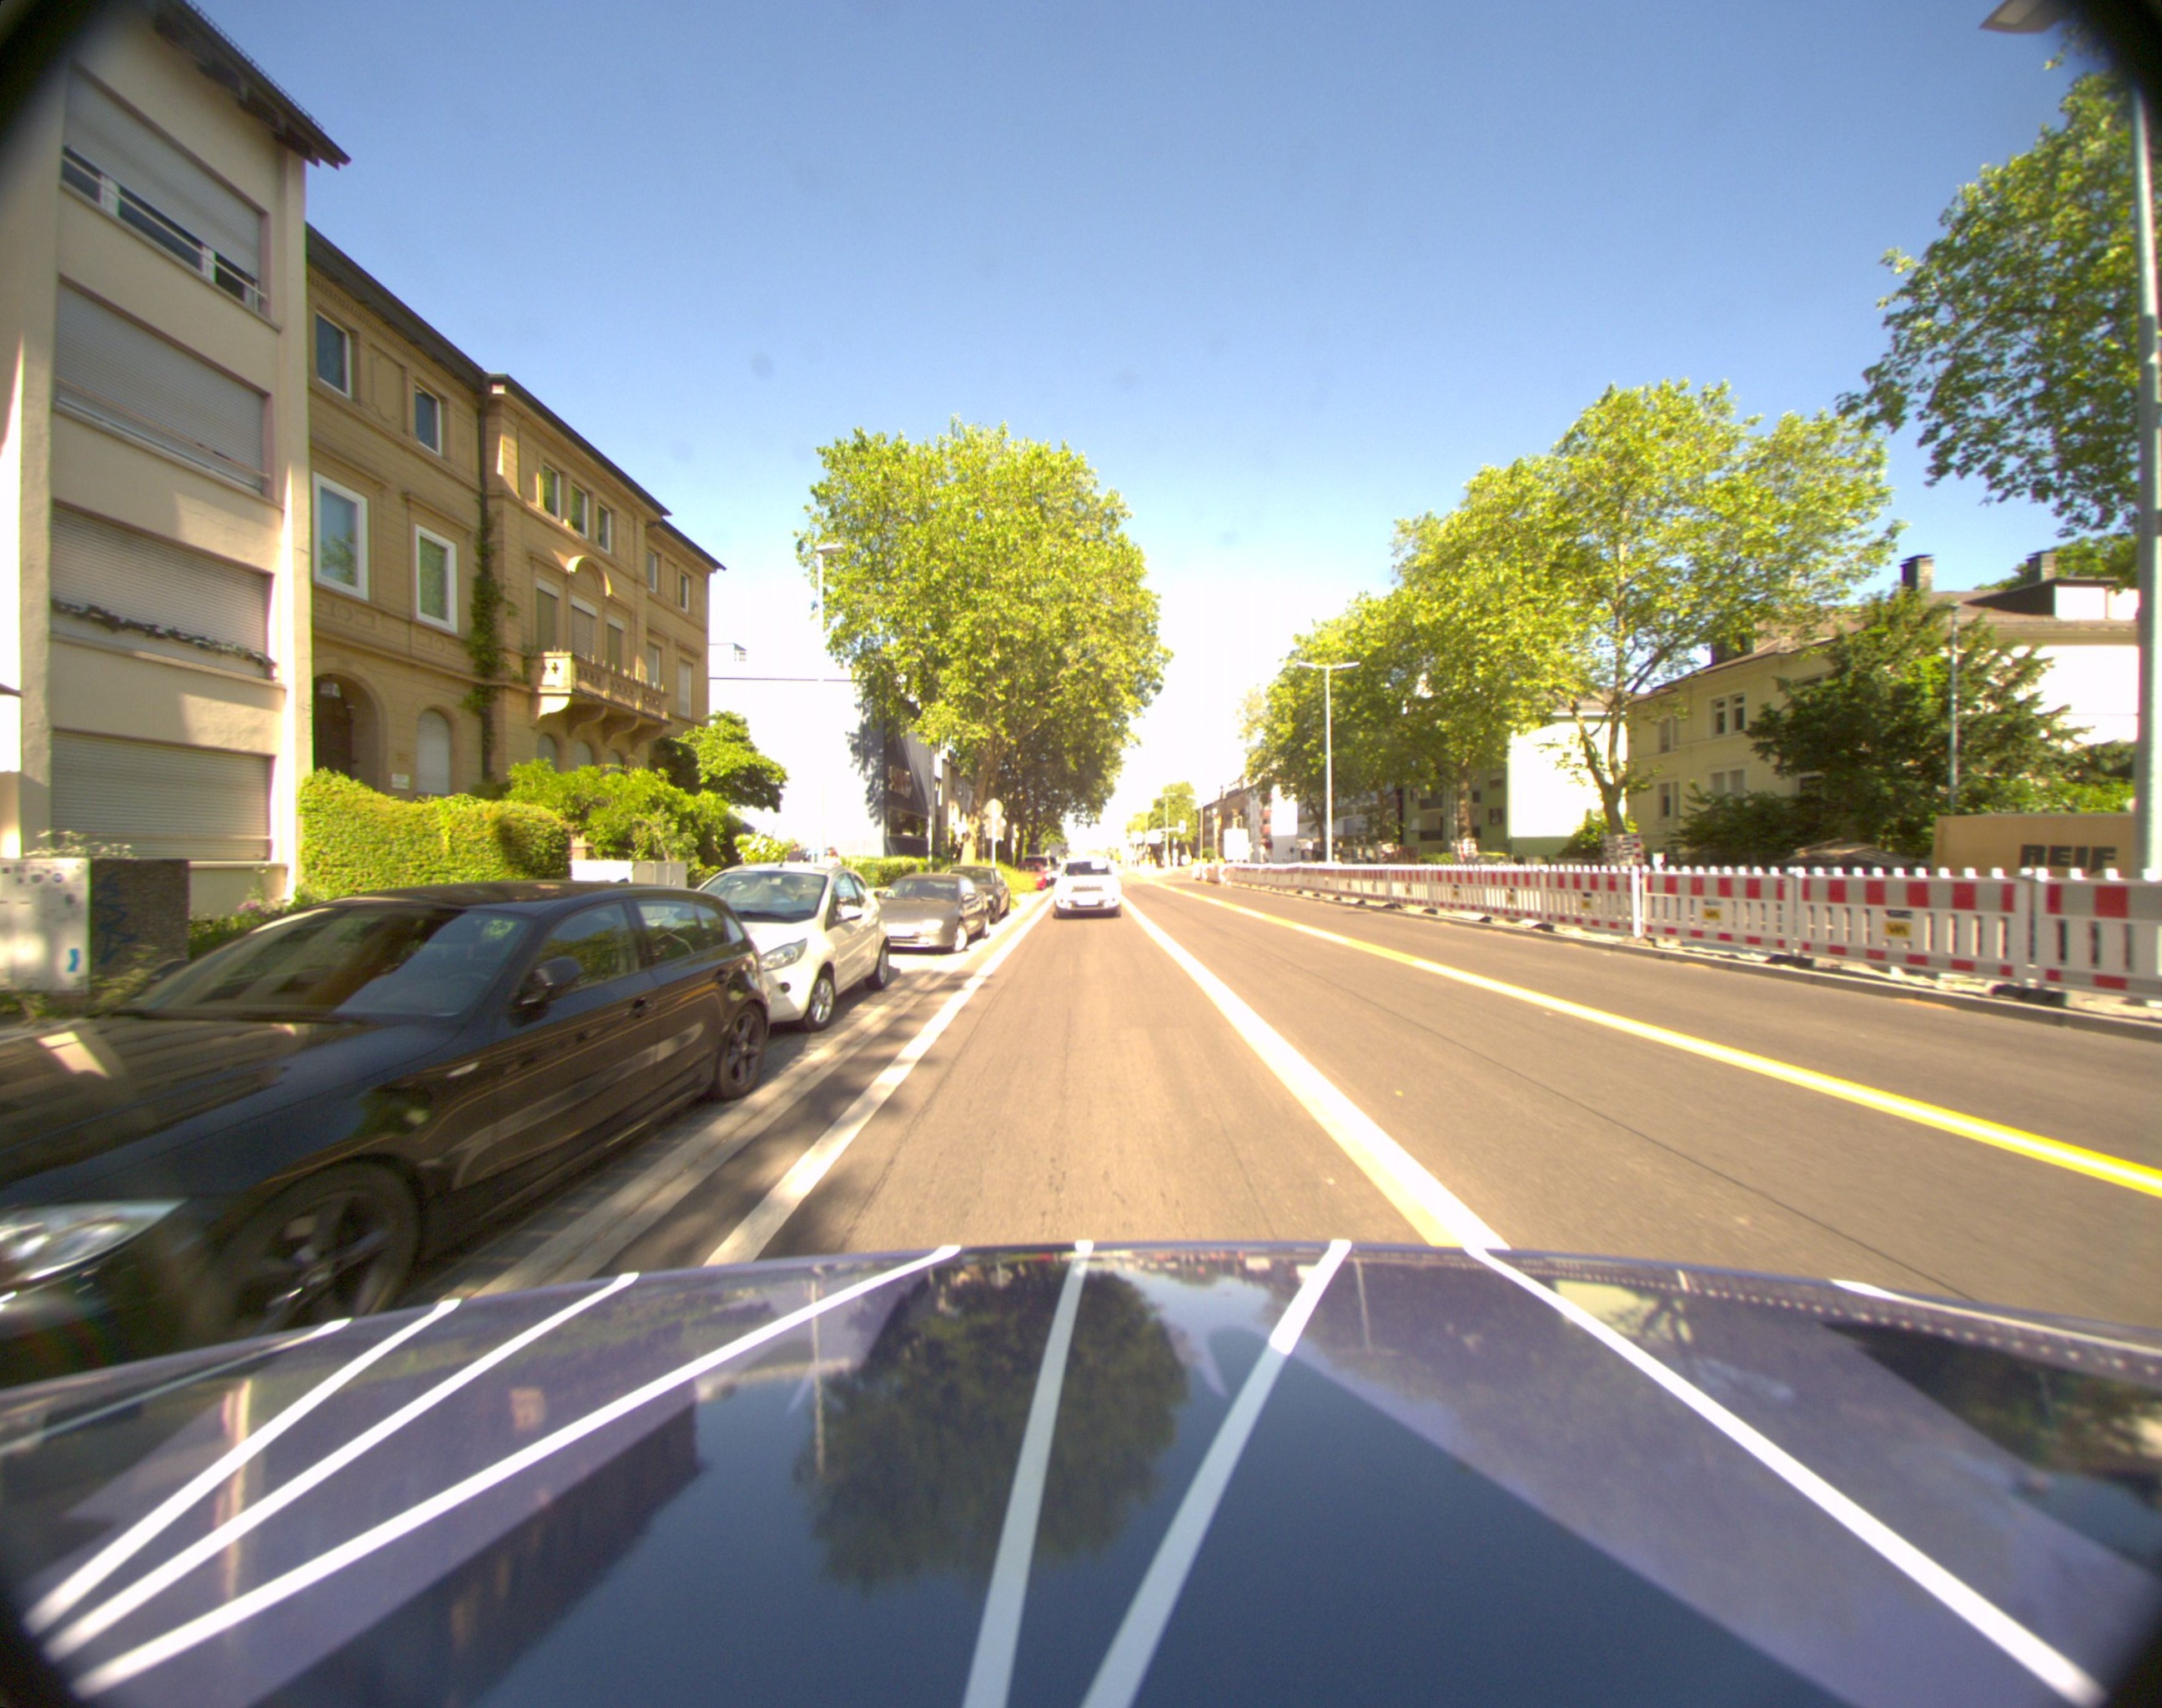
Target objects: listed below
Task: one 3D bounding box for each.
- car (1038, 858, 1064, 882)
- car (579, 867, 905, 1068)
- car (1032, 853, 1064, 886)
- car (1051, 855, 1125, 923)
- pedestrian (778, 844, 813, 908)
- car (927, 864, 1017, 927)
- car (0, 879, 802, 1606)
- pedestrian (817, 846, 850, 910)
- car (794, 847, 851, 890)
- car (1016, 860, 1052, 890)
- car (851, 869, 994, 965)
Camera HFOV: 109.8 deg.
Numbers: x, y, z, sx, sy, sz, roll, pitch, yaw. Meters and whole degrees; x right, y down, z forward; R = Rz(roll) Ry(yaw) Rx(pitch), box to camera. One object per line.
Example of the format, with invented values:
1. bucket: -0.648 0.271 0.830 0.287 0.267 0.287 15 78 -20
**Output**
1. car: -2.040 1.098 53.060 1.631 1.625 4.220 0 0 1
2. car: -3.089 0.922 7.813 1.624 1.477 3.734 1 0 1
3. car: -2.020 0.920 47.184 1.753 1.954 4.507 0 0 1
4. car: 0.208 0.927 22.143 1.868 1.716 4.507 -2 0 1
5. pedestrian: -8.144 0.612 21.677 0.698 1.785 0.802 0 0 0
6. car: -2.842 1.044 20.711 1.720 1.404 4.476 3 0 1
7. car: -2.960 0.941 3.738 1.624 1.477 4.057 1 0 1
8. pedestrian: -7.025 0.663 21.605 0.698 1.785 0.715 0 0 0
9. car: -11.769 0.602 34.441 1.803 1.811 3.990 0 0 -29
10. car: -2.506 1.088 41.199 1.674 1.508 3.998 0 0 1
11. car: -2.741 1.035 14.007 1.720 1.404 4.048 1 0 1
